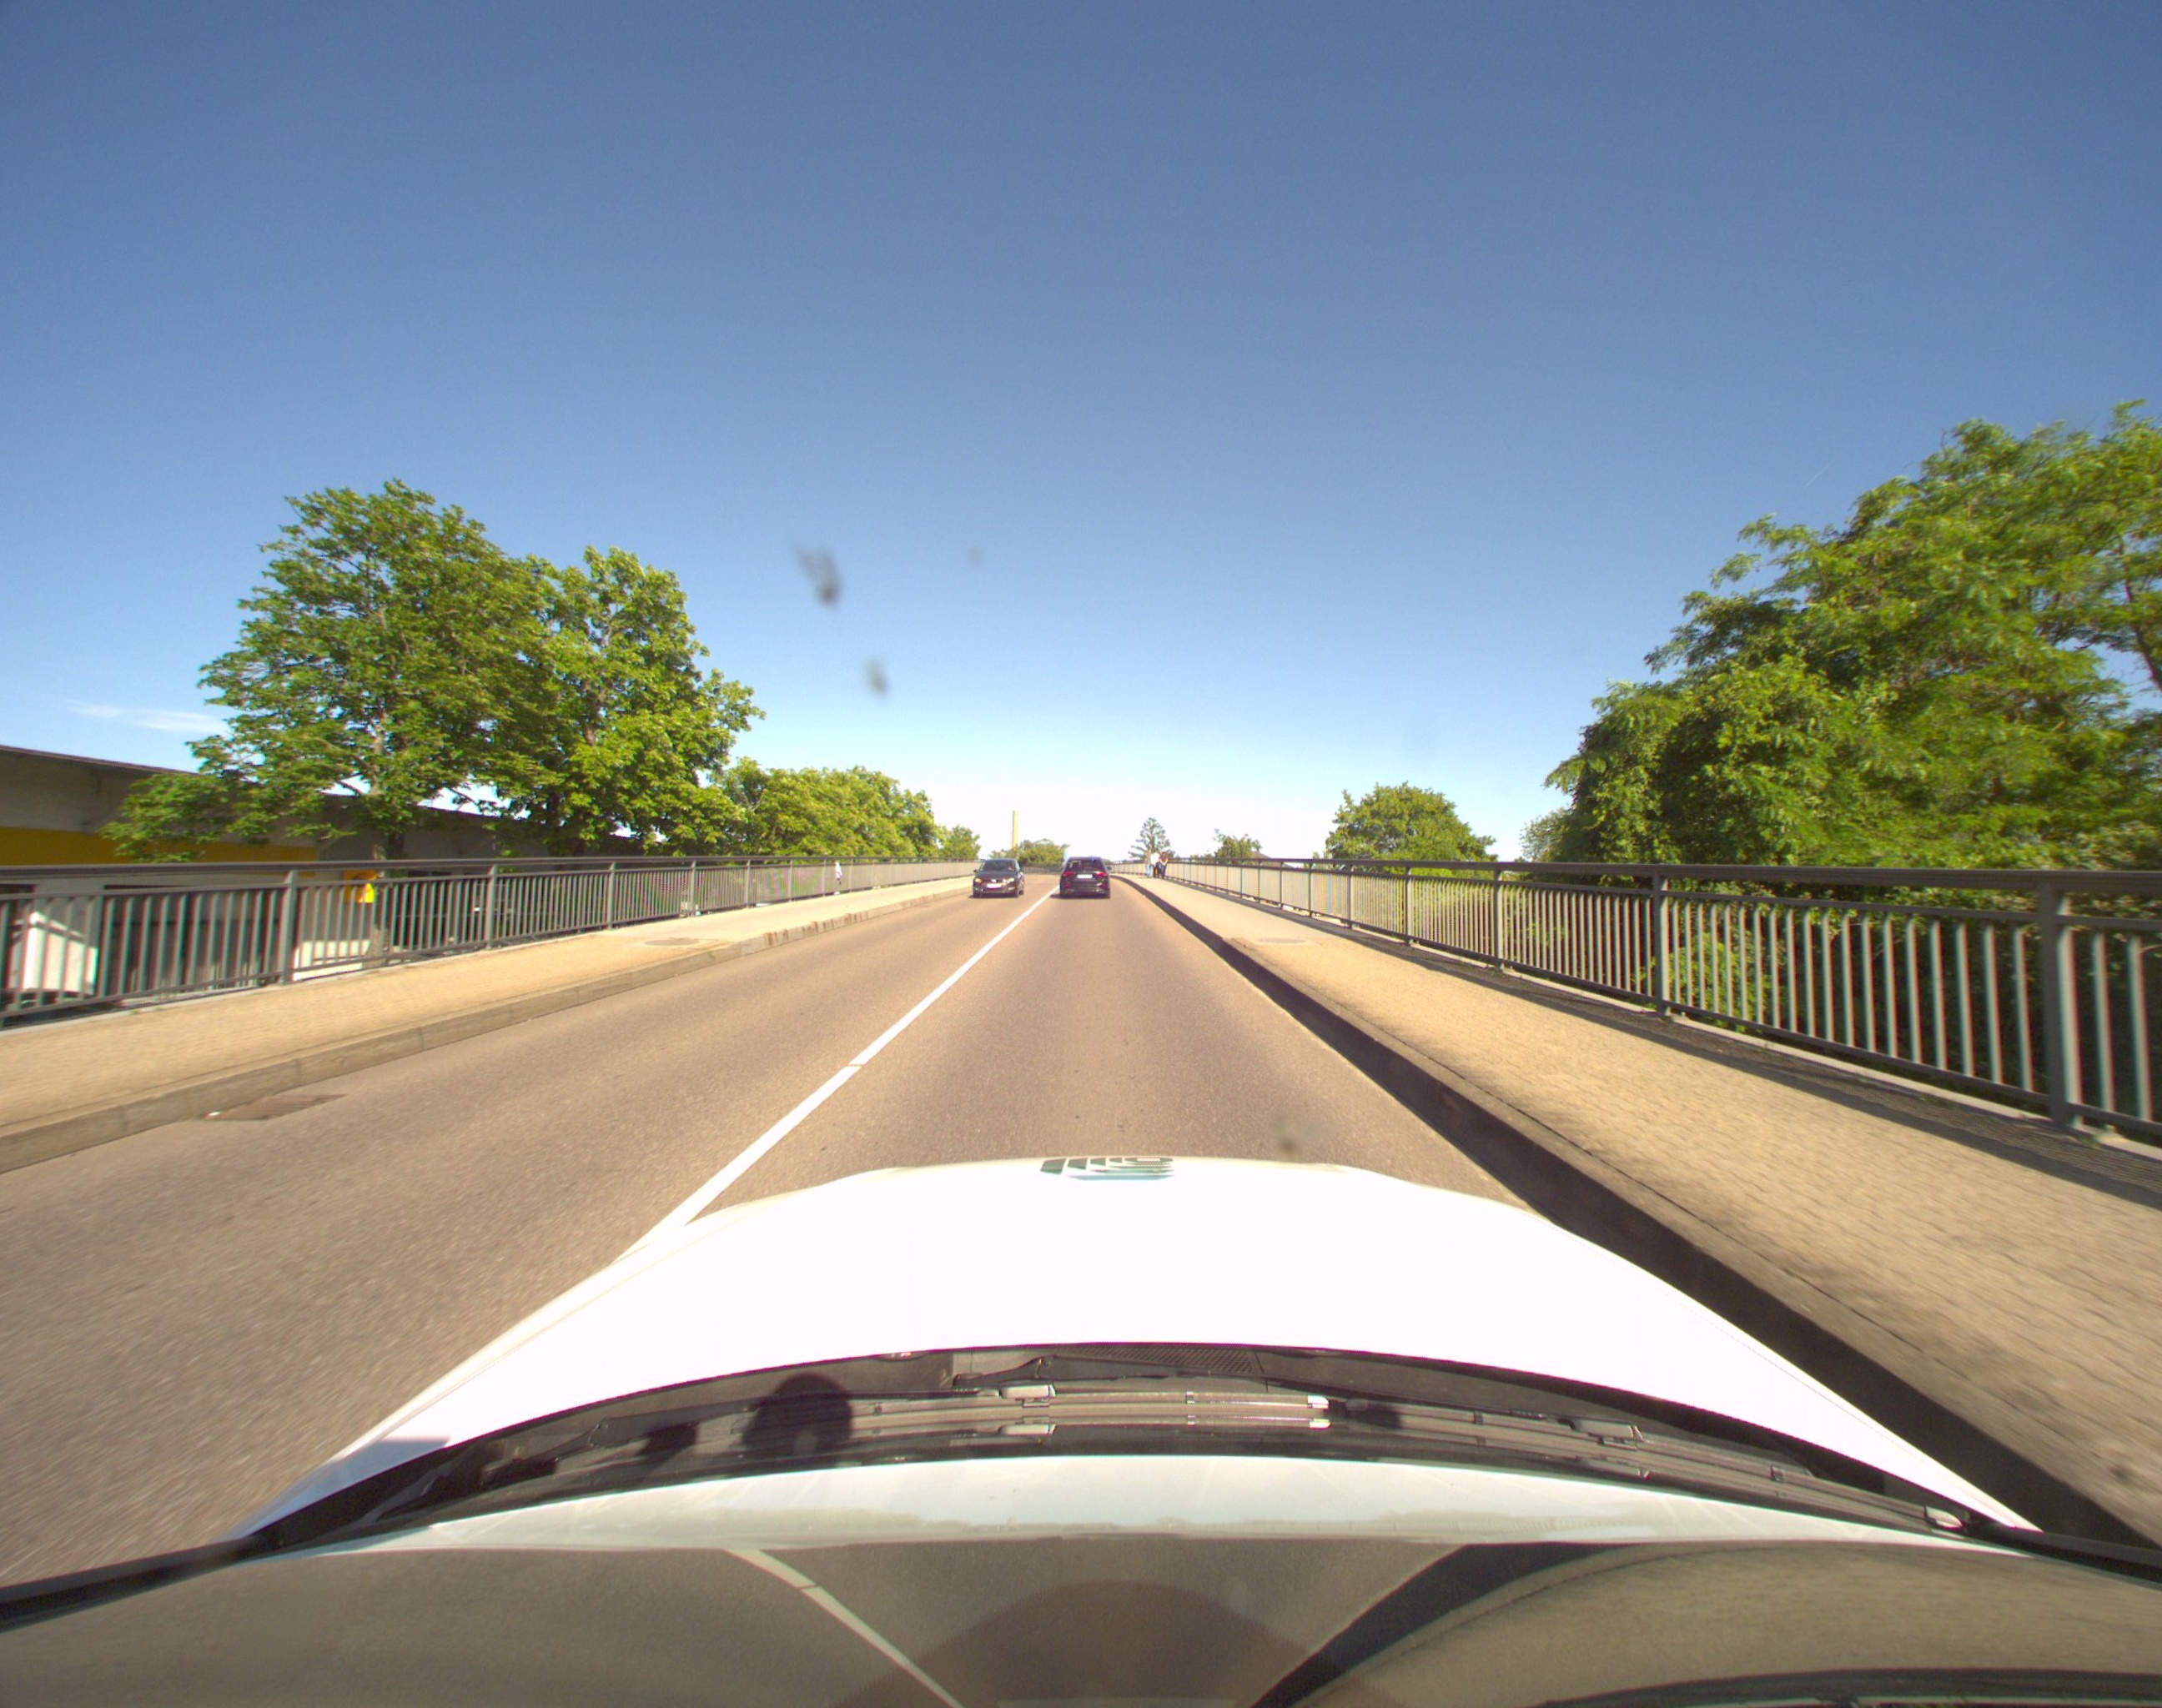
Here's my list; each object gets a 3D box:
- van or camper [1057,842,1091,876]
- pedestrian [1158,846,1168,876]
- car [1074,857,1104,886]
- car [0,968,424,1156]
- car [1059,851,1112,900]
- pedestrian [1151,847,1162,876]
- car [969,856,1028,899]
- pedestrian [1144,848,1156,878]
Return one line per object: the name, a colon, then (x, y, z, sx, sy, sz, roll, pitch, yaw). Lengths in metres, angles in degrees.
van or camper: (-0.723, 0.505, 72.745, 2.224, 2.740, 7.061, 1, -3, -7)
pedestrian: (4.864, 0.429, 48.297, 0.470, 1.750, 0.654, 1, -3, 1)
car: (0.553, 1.143, 52.791, 1.798, 1.640, 4.000, 1, -4, 2)
car: (-13.265, 3.025, 12.873, 1.914, 1.991, 4.263, 1, -3, 6)
car: (0.085, 0.731, 29.862, 1.765, 1.592, 3.986, 1, 1, -2)
pedestrian: (4.548, 0.463, 49.113, 0.547, 1.750, 0.738, 1, -3, 1)
car: (-3.048, 0.856, 30.803, 1.764, 1.474, 3.989, -1, -1, 0)
pedestrian: (4.075, 0.550, 48.187, 0.600, 1.750, 0.717, 1, -3, 1)
